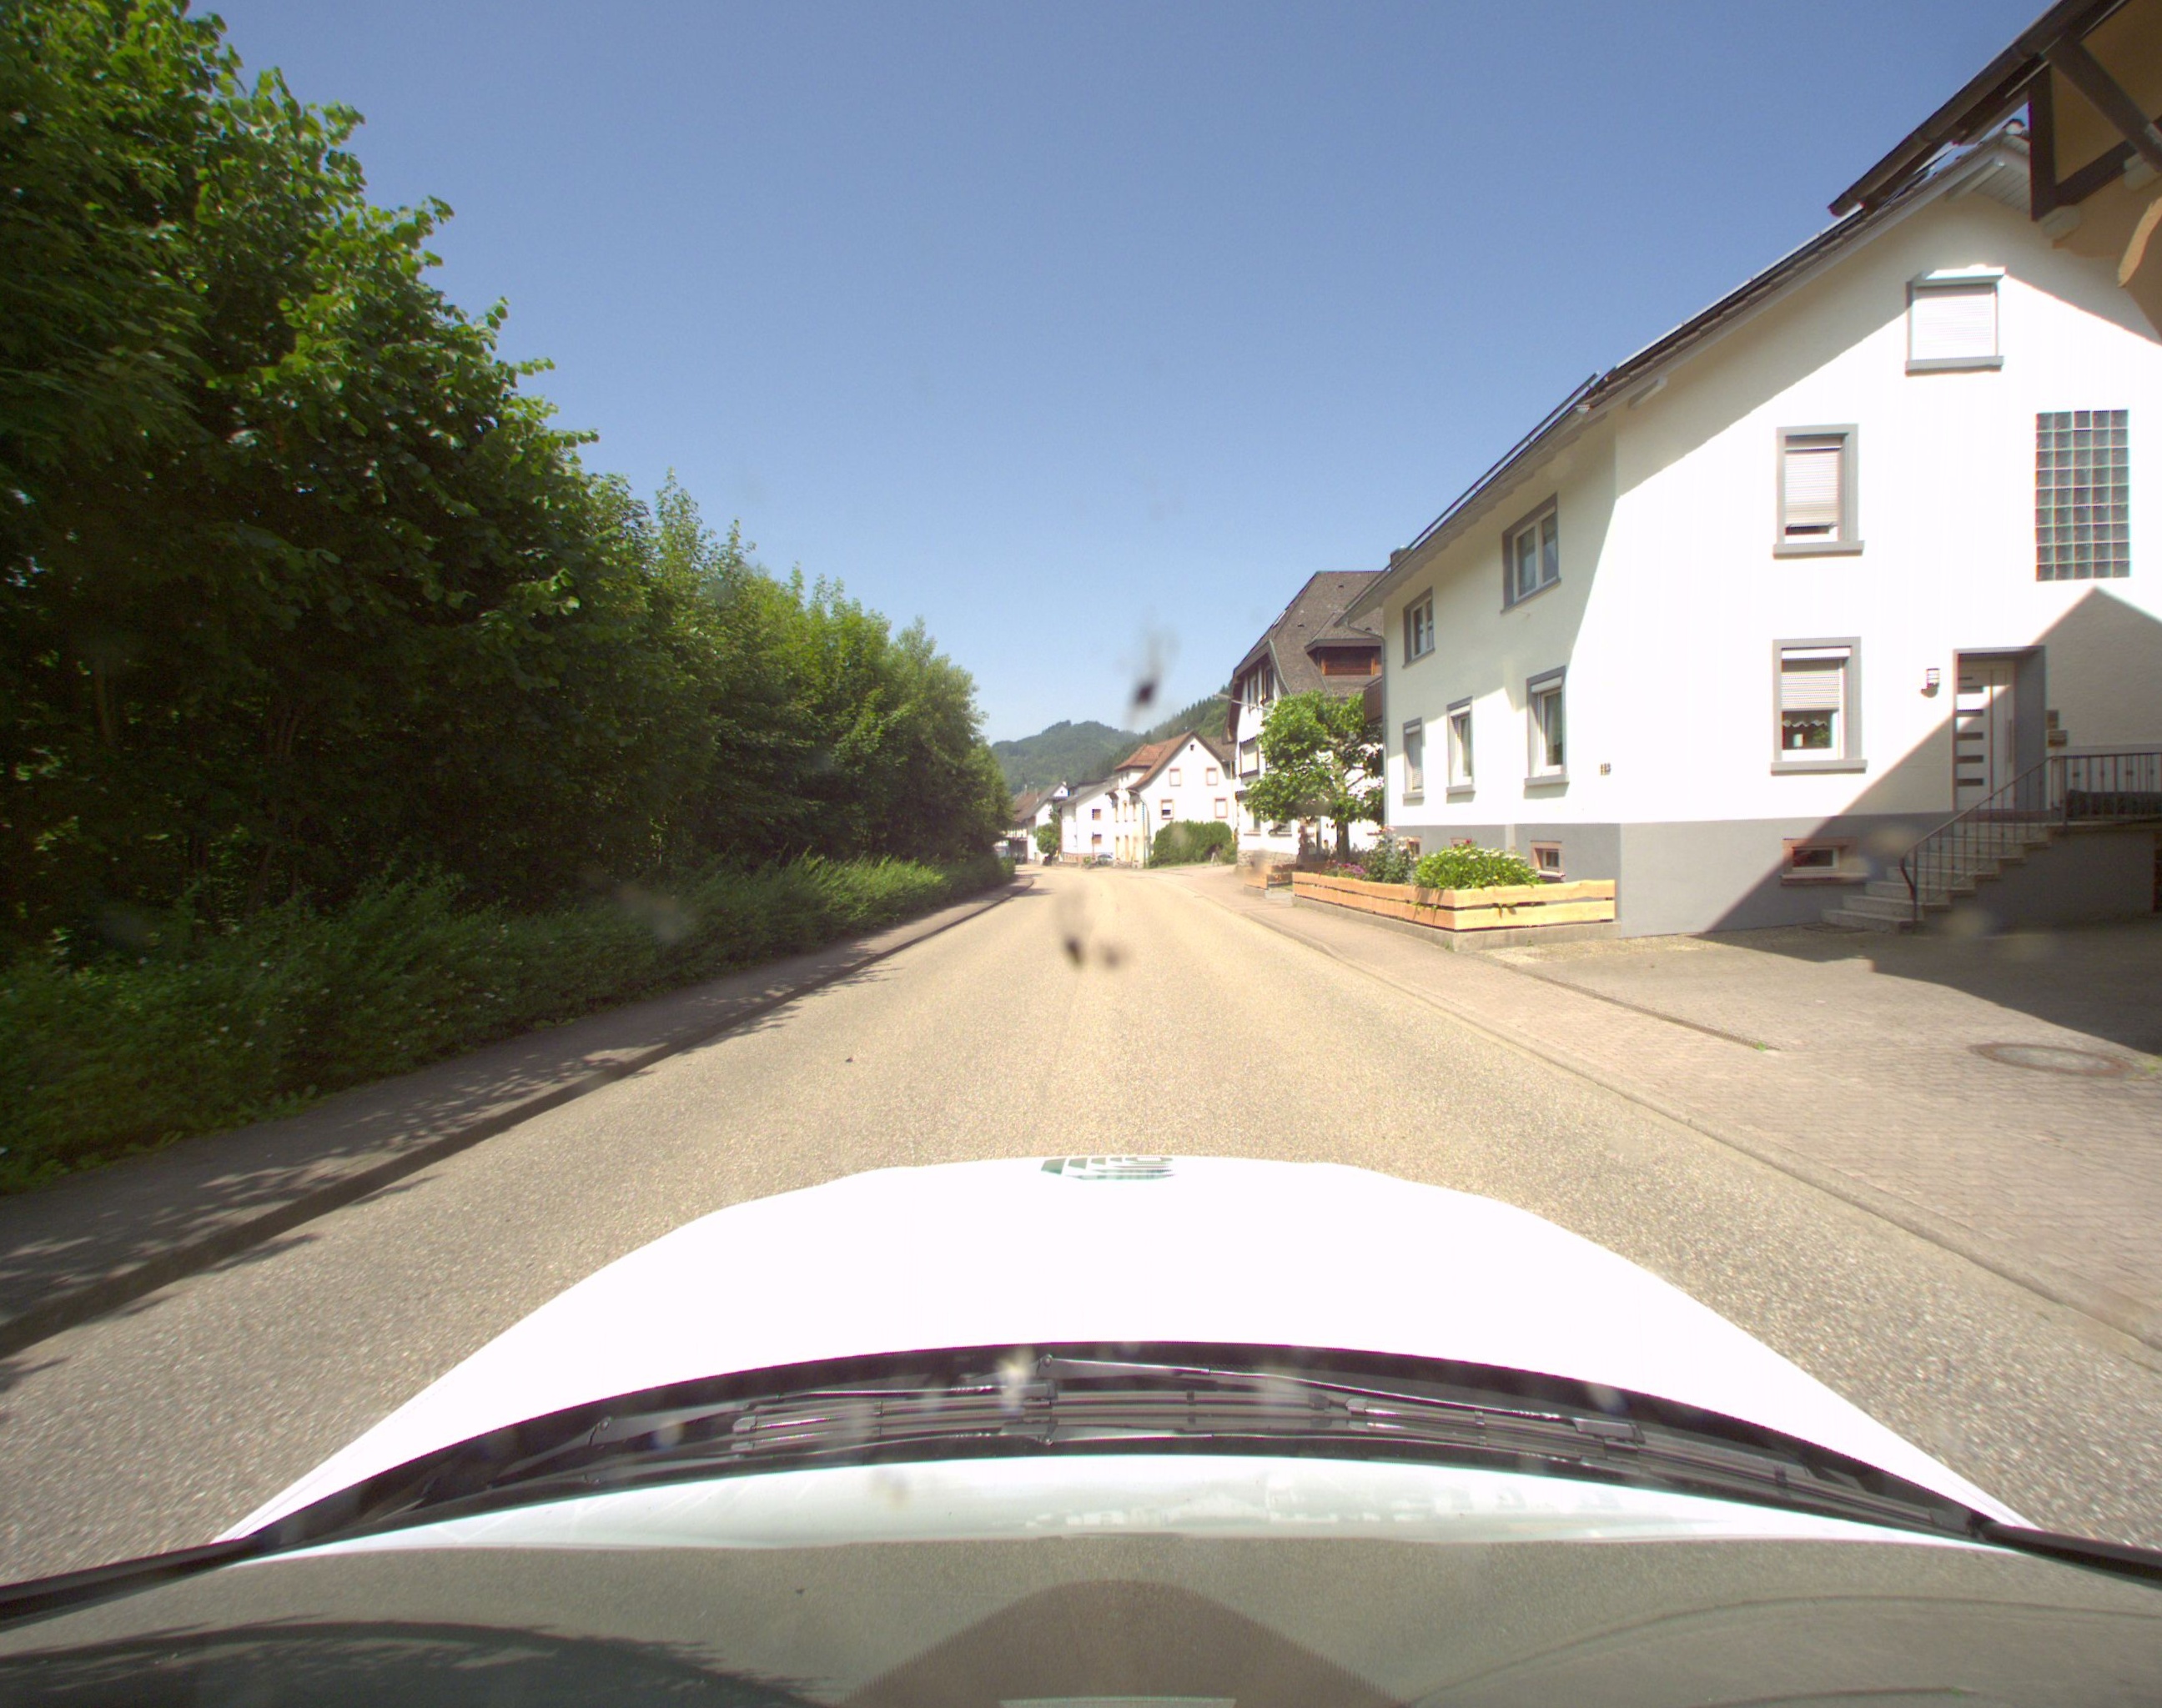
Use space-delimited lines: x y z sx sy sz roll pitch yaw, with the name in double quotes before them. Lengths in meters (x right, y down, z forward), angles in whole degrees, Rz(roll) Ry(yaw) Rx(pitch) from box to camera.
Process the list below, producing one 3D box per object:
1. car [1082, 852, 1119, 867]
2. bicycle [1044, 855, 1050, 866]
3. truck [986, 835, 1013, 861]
"car" 2.158 0.635 90.903 3.727 1.427 1.620 -3 0 34
"bicycle" -4.749 0.898 115.229 0.425 1.396 2.269 -5 1 -10
"truck" -14.504 -0.988 144.505 3.369 3.782 8.398 -5 -1 -14
